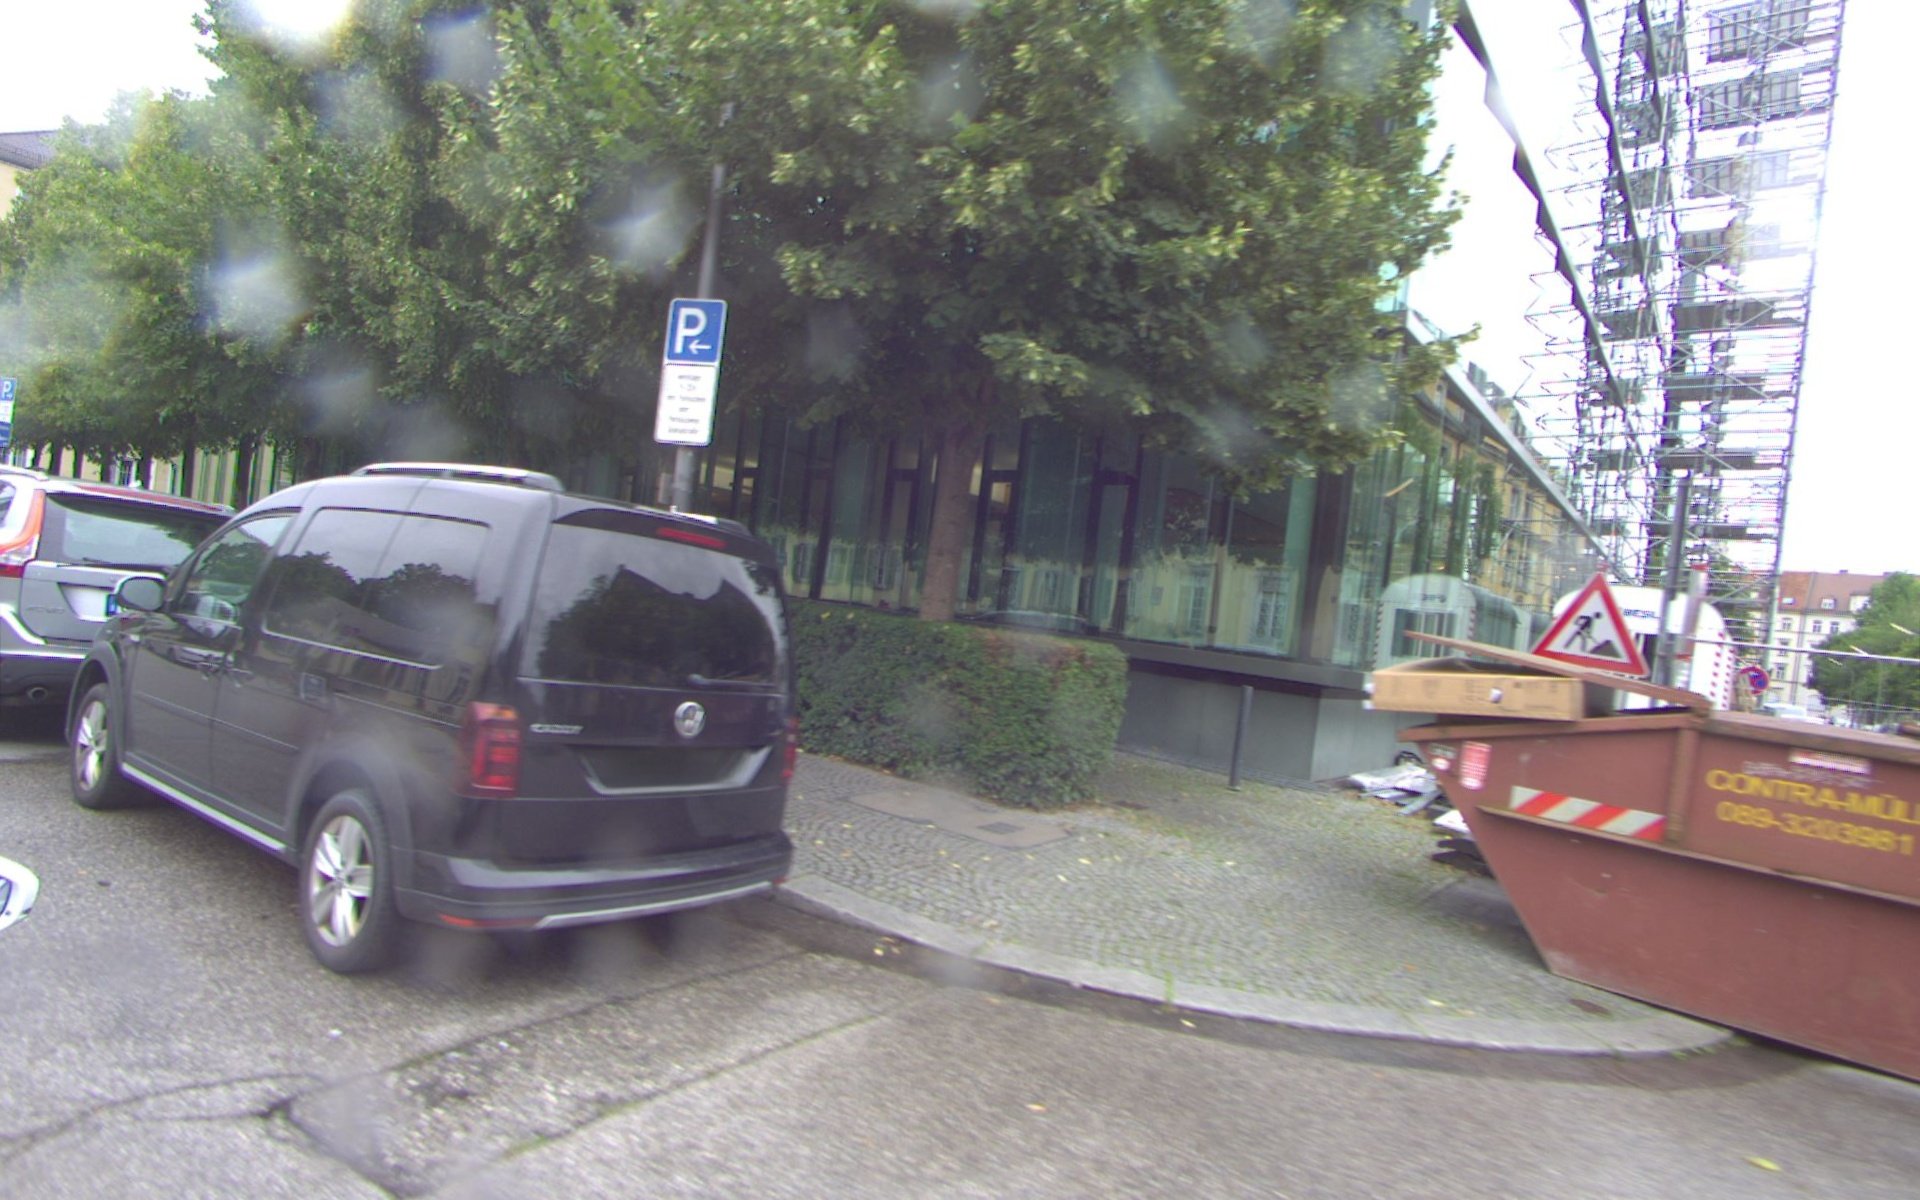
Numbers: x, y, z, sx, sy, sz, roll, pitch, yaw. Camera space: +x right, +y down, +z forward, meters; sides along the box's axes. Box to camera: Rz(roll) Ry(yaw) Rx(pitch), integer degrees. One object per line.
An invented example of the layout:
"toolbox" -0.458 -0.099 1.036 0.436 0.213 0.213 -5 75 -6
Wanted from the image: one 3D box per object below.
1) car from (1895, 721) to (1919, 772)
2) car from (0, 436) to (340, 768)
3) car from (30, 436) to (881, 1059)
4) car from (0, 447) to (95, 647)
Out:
"car" 45.084 6.914 46.652 1.971 2.101 3.991 6 -4 38
"car" -6.615 -0.125 7.407 4.440 1.815 1.863 7 0 37
"car" -2.619 0.343 4.884 4.073 1.844 1.763 7 -1 34
"car" -11.392 -0.753 11.188 4.163 1.966 1.749 7 0 38
